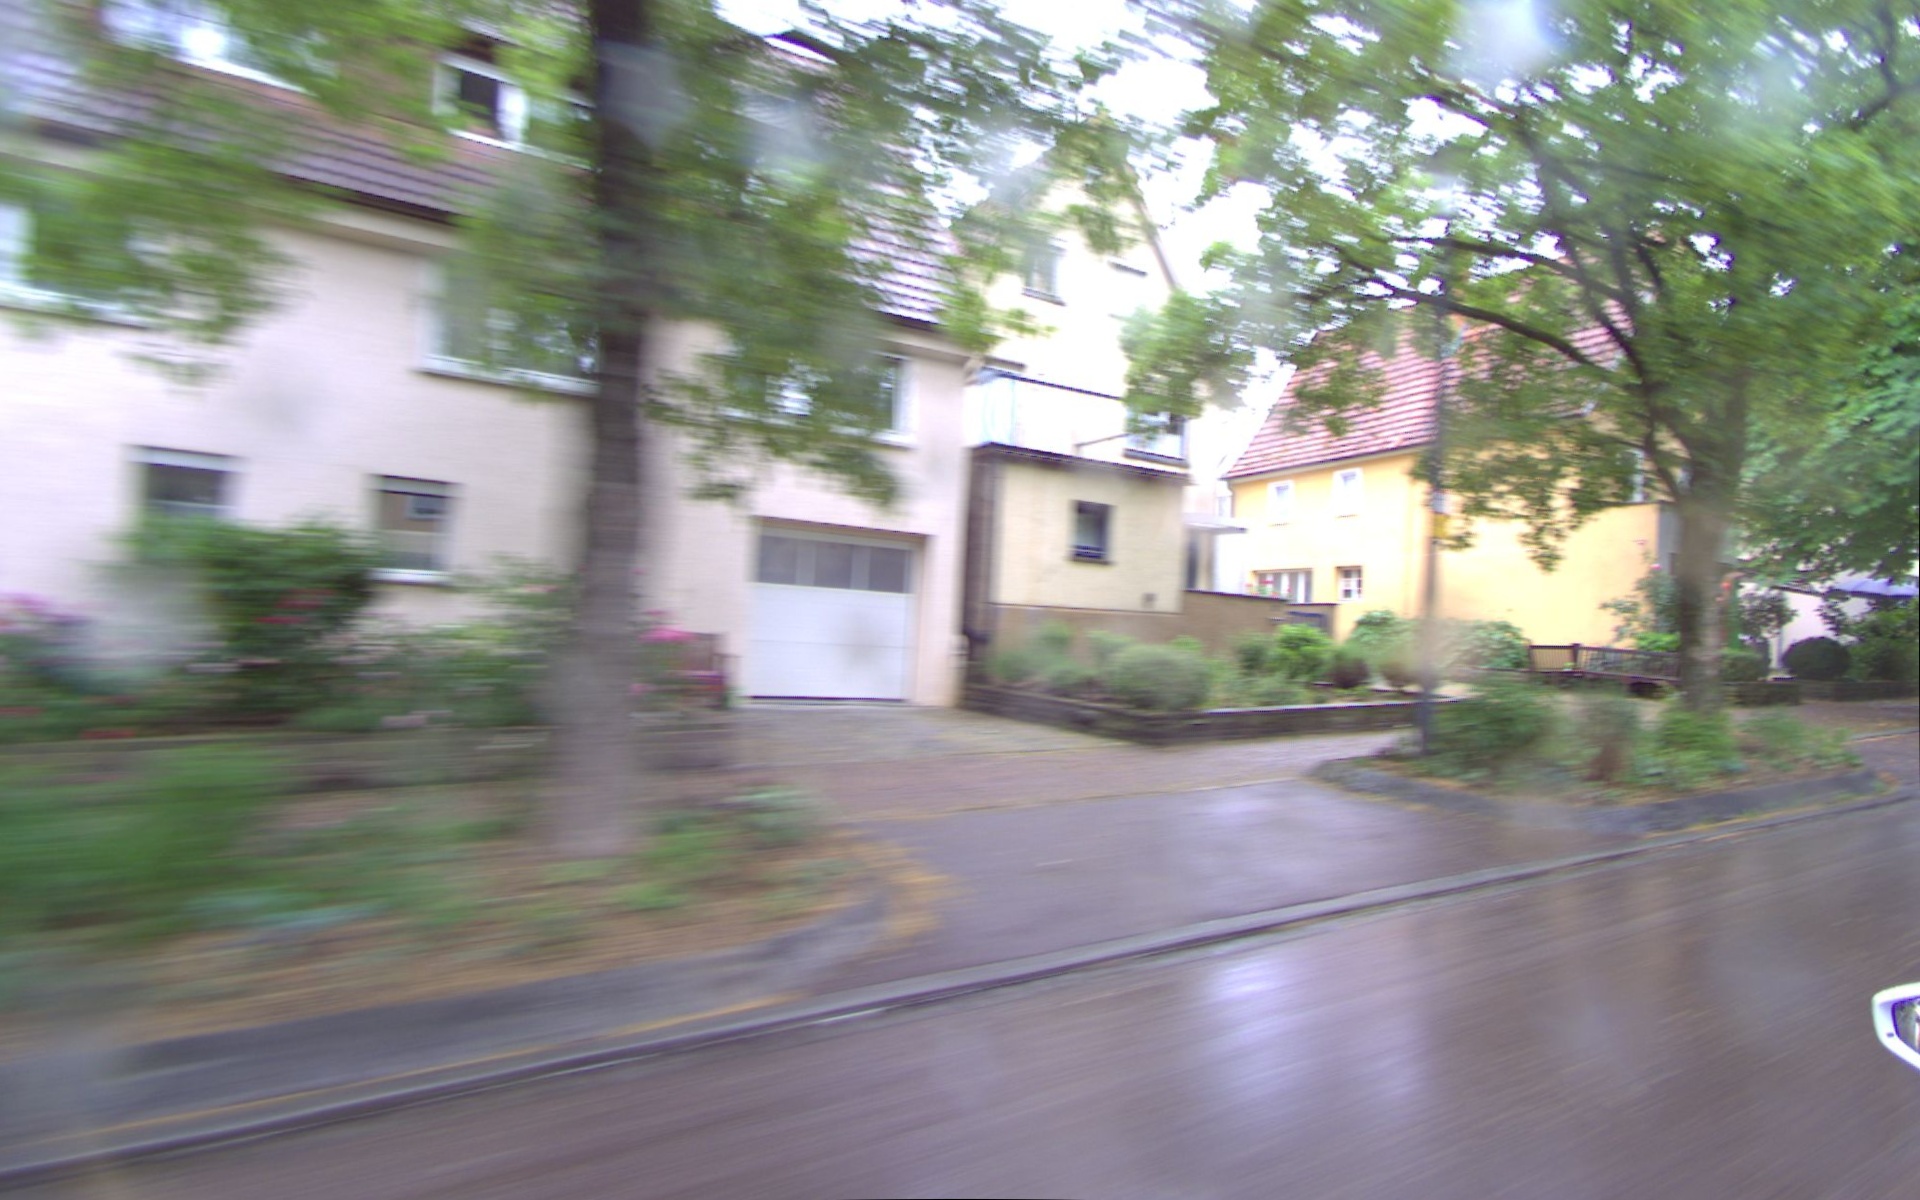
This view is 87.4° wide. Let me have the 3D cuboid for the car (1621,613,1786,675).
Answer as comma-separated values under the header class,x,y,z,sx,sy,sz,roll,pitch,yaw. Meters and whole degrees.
class,x,y,z,sx,sy,sz,roll,pitch,yaw
car,22.057,1.267,29.933,1.618,1.497,3.552,1,2,-30
